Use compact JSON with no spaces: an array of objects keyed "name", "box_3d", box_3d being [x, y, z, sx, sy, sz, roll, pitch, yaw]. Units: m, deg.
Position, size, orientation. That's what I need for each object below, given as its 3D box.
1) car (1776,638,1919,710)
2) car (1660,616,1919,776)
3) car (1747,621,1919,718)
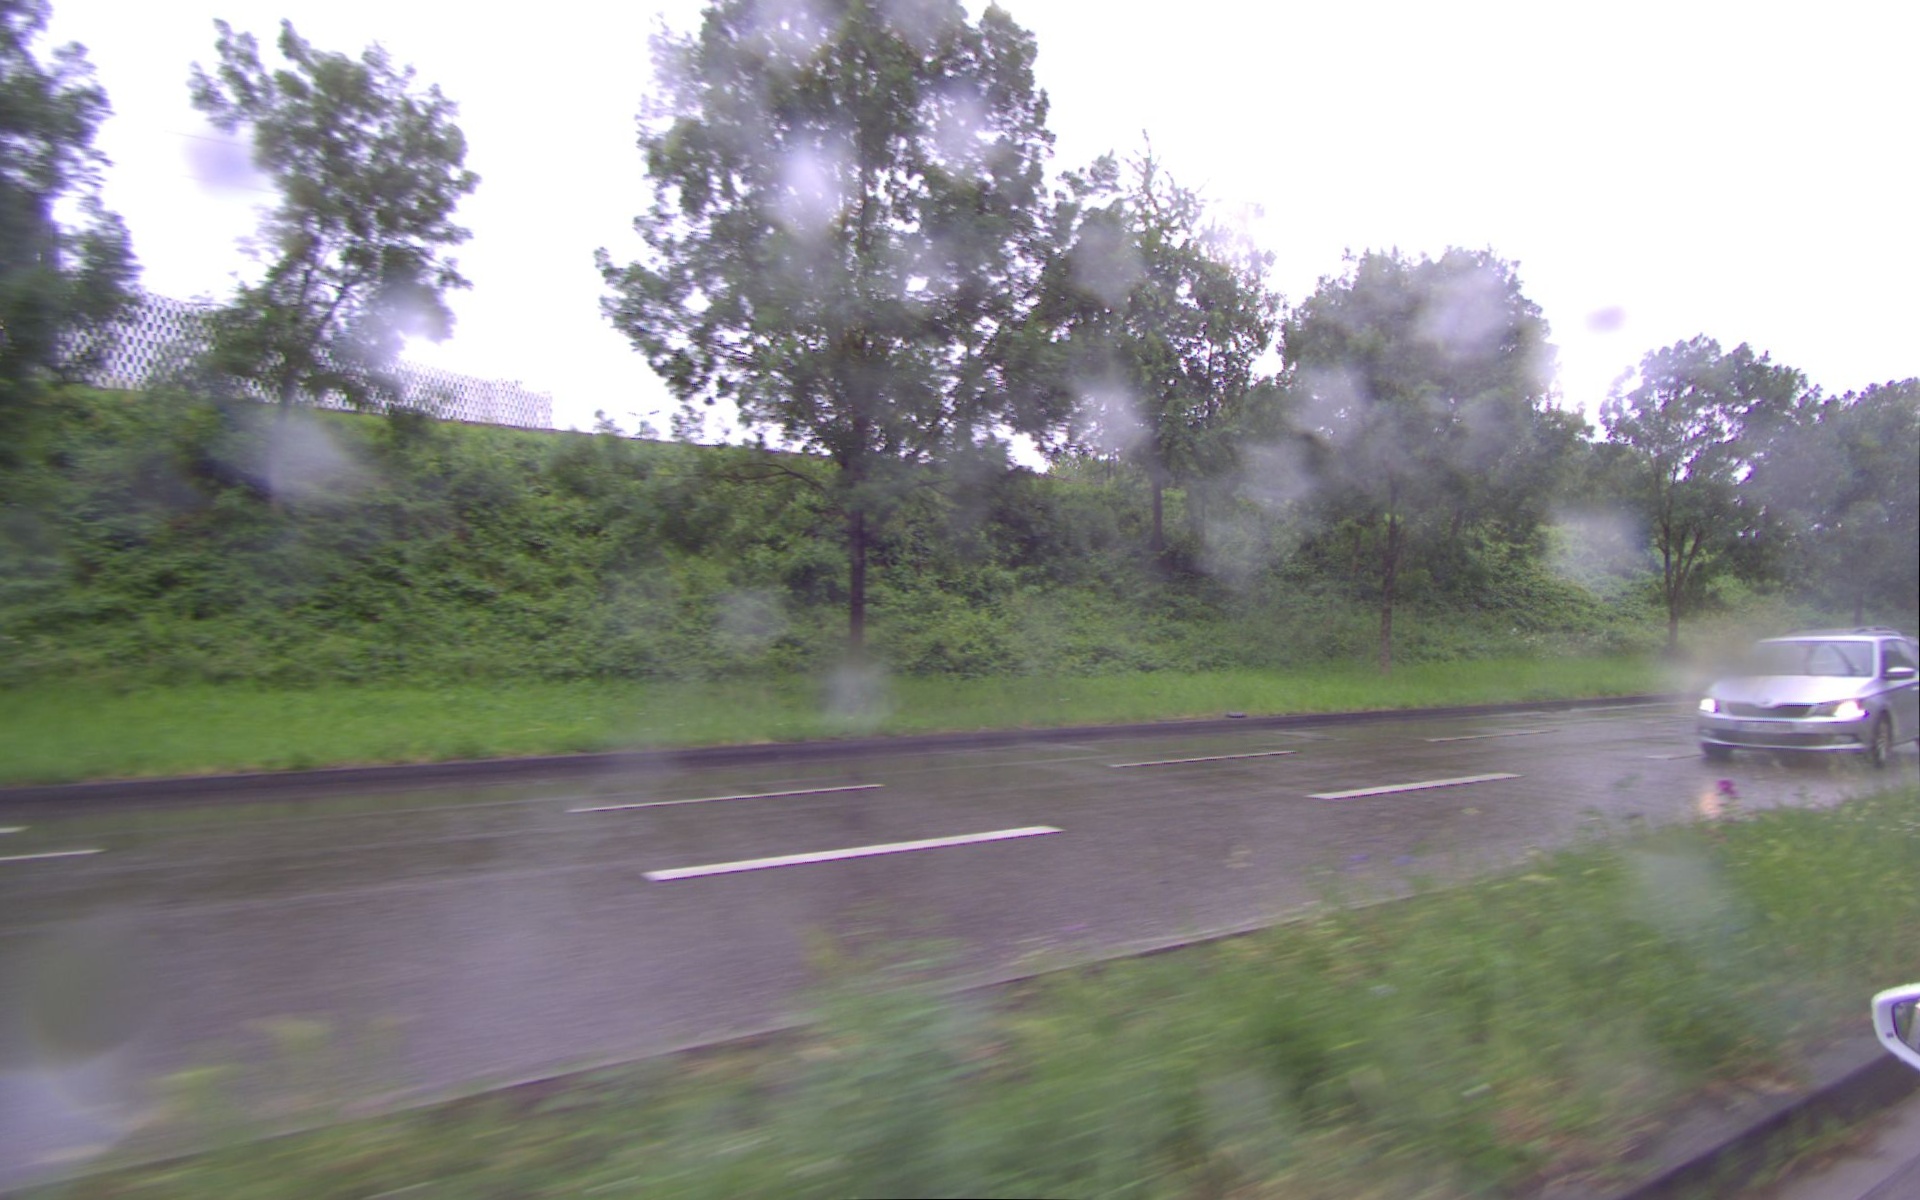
[{"name":"car","box_3d":[23.427,1.858,26.043,4.653,1.710,1.984,1,-3,-30]},{"name":"car","box_3d":[10.483,1.090,12.218,4.070,1.634,1.887,2,-4,-34]},{"name":"car","box_3d":[17.771,1.314,19.765,4.653,1.709,1.985,1,-3,-30]}]
